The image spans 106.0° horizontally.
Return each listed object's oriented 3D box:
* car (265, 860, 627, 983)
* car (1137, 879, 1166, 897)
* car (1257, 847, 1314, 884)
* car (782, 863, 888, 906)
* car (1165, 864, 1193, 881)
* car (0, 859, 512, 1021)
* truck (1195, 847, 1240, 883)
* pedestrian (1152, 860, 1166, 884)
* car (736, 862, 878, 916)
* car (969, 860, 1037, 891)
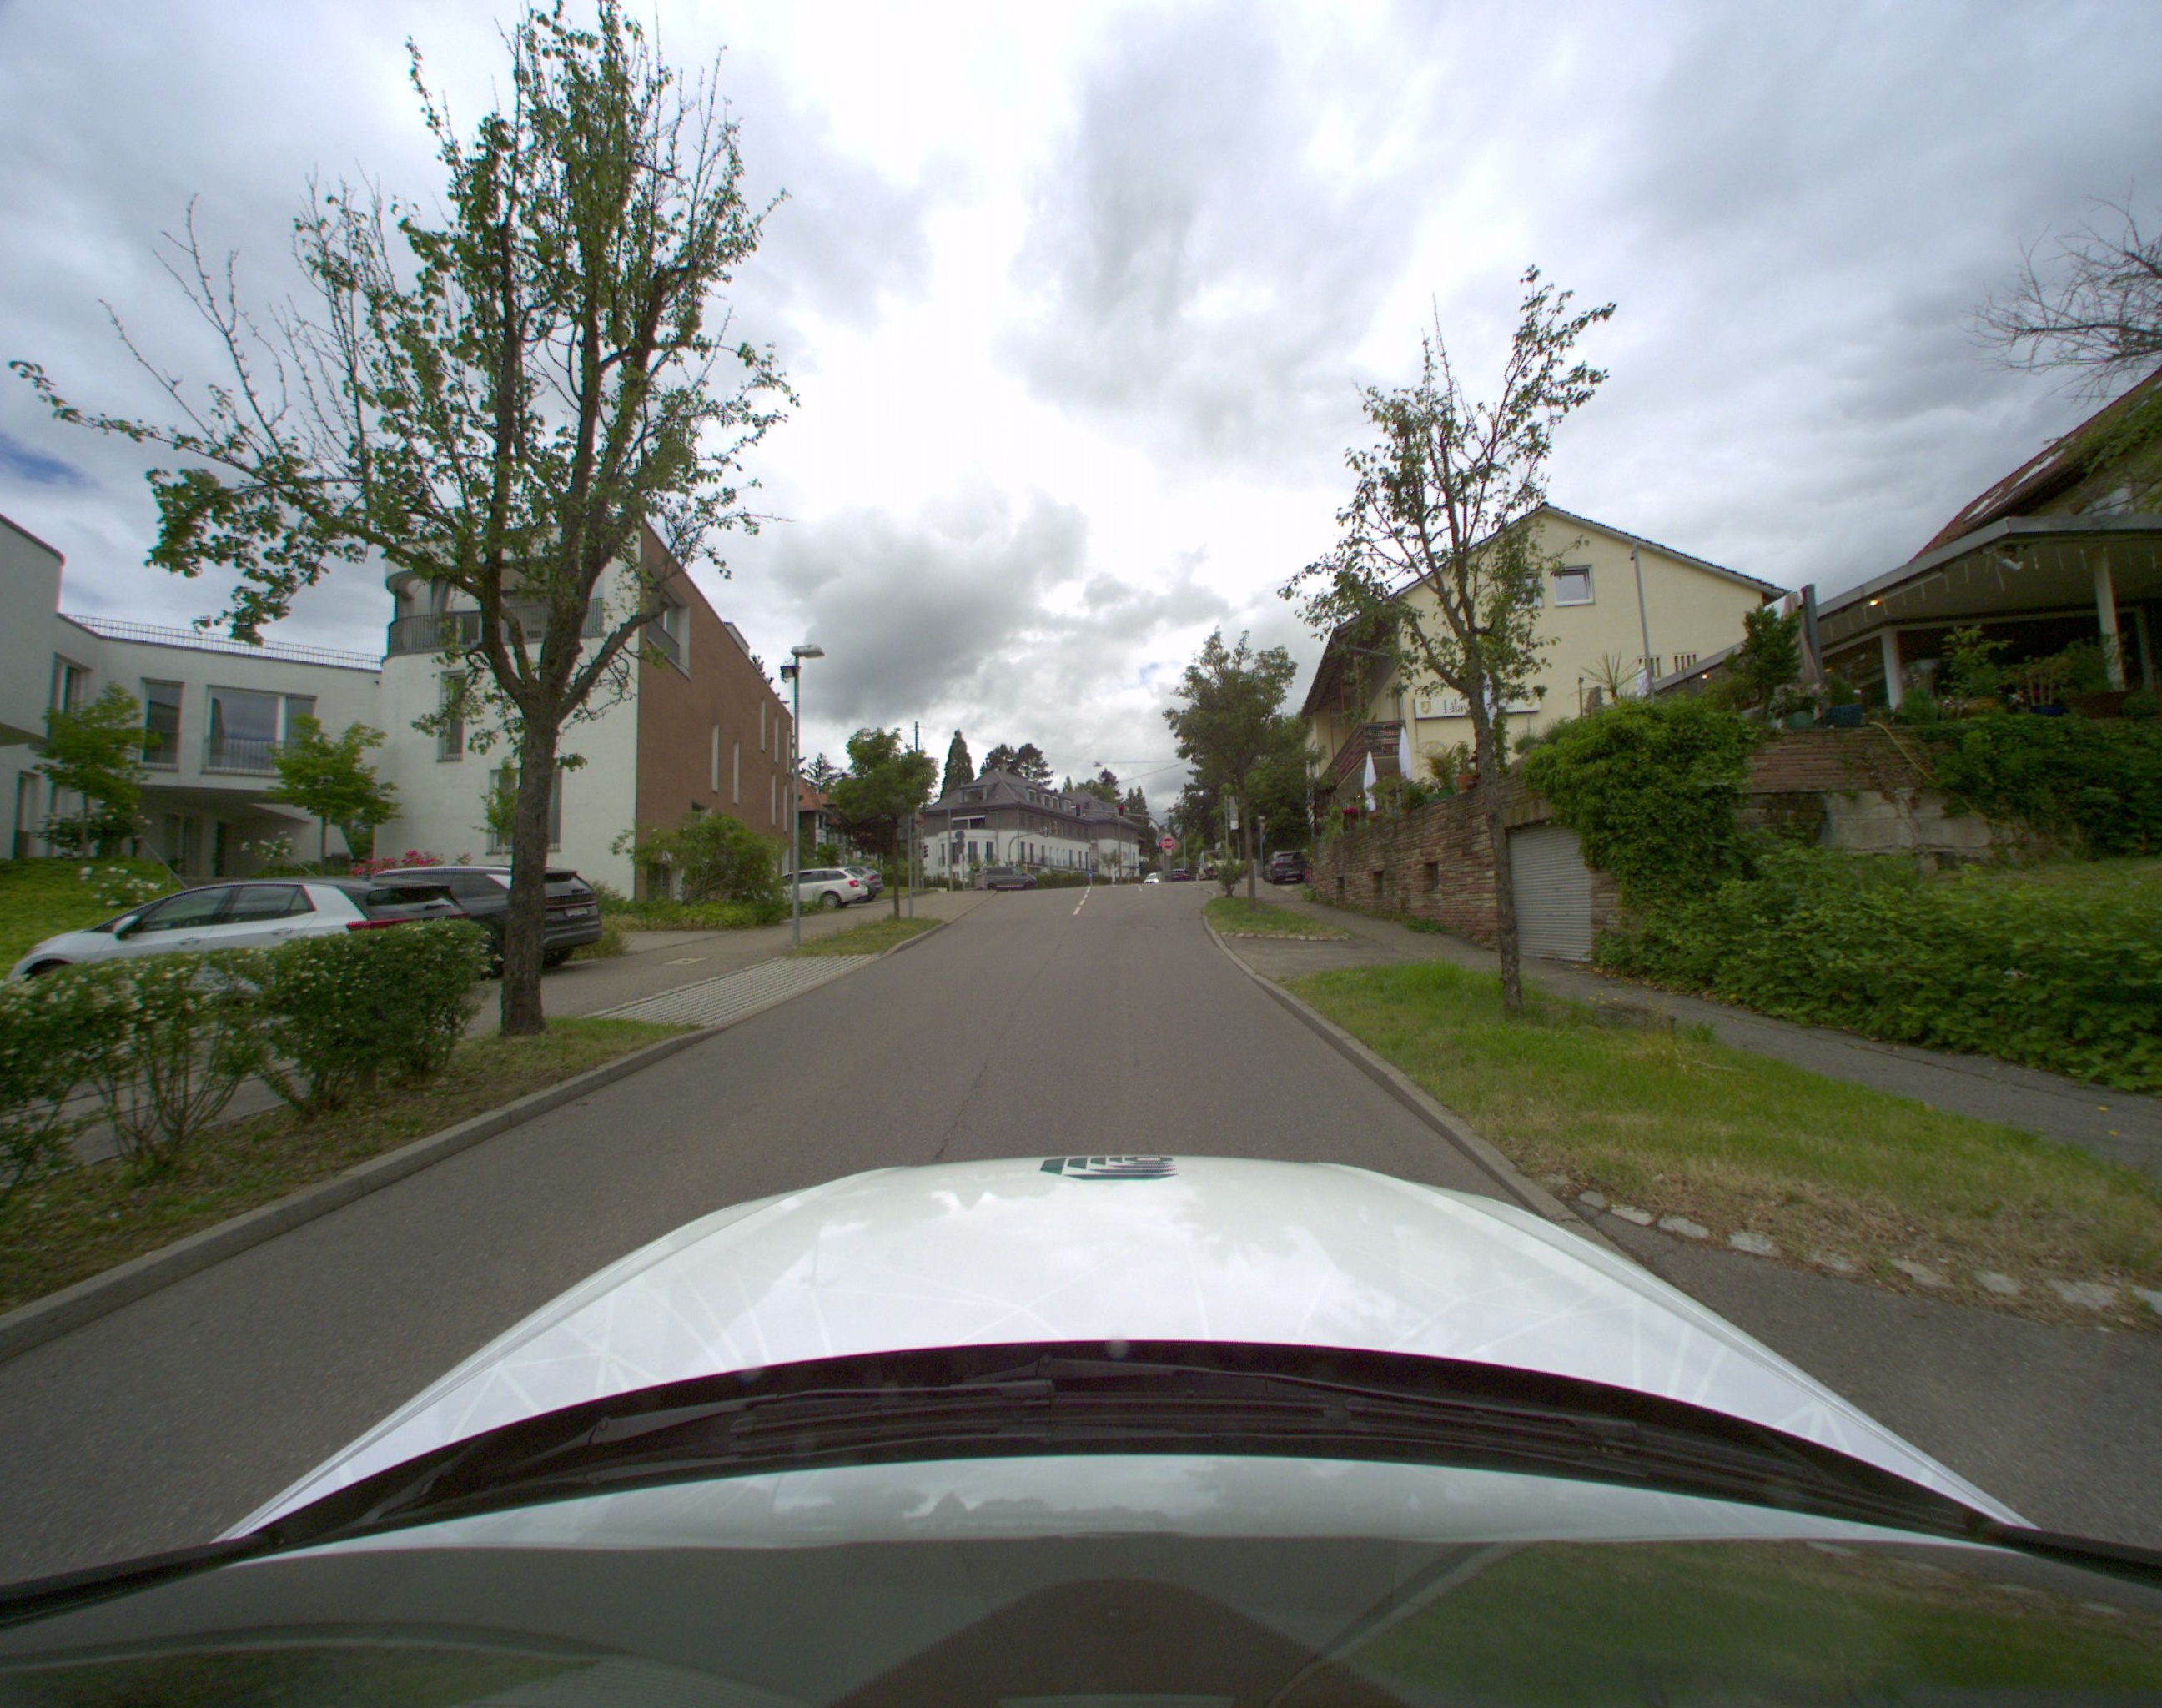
[{"bbox_3d":[-9.573,0.964,12.542,3.971,1.653,2.009,-1,-1,2],"label":"car"},{"bbox_3d":[8.073,3.901,93.200,1.975,1.857,4.378,-2,0,24],"label":"car"},{"bbox_3d":[9.323,0.514,37.464,1.839,1.472,4.392,-4,-1,6],"label":"car"},{"bbox_3d":[-9.862,1.201,32.861,3.753,1.464,1.729,-3,0,-5],"label":"car"},{"bbox_3d":[9.579,1.814,79.470,2.139,1.491,4.728,-2,0,12],"label":"car"},{"bbox_3d":[-9.881,0.951,9.902,4.373,1.566,2.066,-3,0,-1],"label":"car"},{"bbox_3d":[9.507,0.836,57.058,2.176,2.195,5.881,-2,-3,1],"label":"truck"},{"bbox_3d":[5.732,1.311,59.635,0.701,1.682,0.680,-2,-1,-25],"label":"pedestrian"},{"bbox_3d":[-9.584,1.228,28.741,4.249,1.623,2.012,-3,-2,-2],"label":"car"},{"bbox_3d":[-5.808,1.617,60.567,4.519,2.014,1.982,-2,-3,-26],"label":"car"}]
